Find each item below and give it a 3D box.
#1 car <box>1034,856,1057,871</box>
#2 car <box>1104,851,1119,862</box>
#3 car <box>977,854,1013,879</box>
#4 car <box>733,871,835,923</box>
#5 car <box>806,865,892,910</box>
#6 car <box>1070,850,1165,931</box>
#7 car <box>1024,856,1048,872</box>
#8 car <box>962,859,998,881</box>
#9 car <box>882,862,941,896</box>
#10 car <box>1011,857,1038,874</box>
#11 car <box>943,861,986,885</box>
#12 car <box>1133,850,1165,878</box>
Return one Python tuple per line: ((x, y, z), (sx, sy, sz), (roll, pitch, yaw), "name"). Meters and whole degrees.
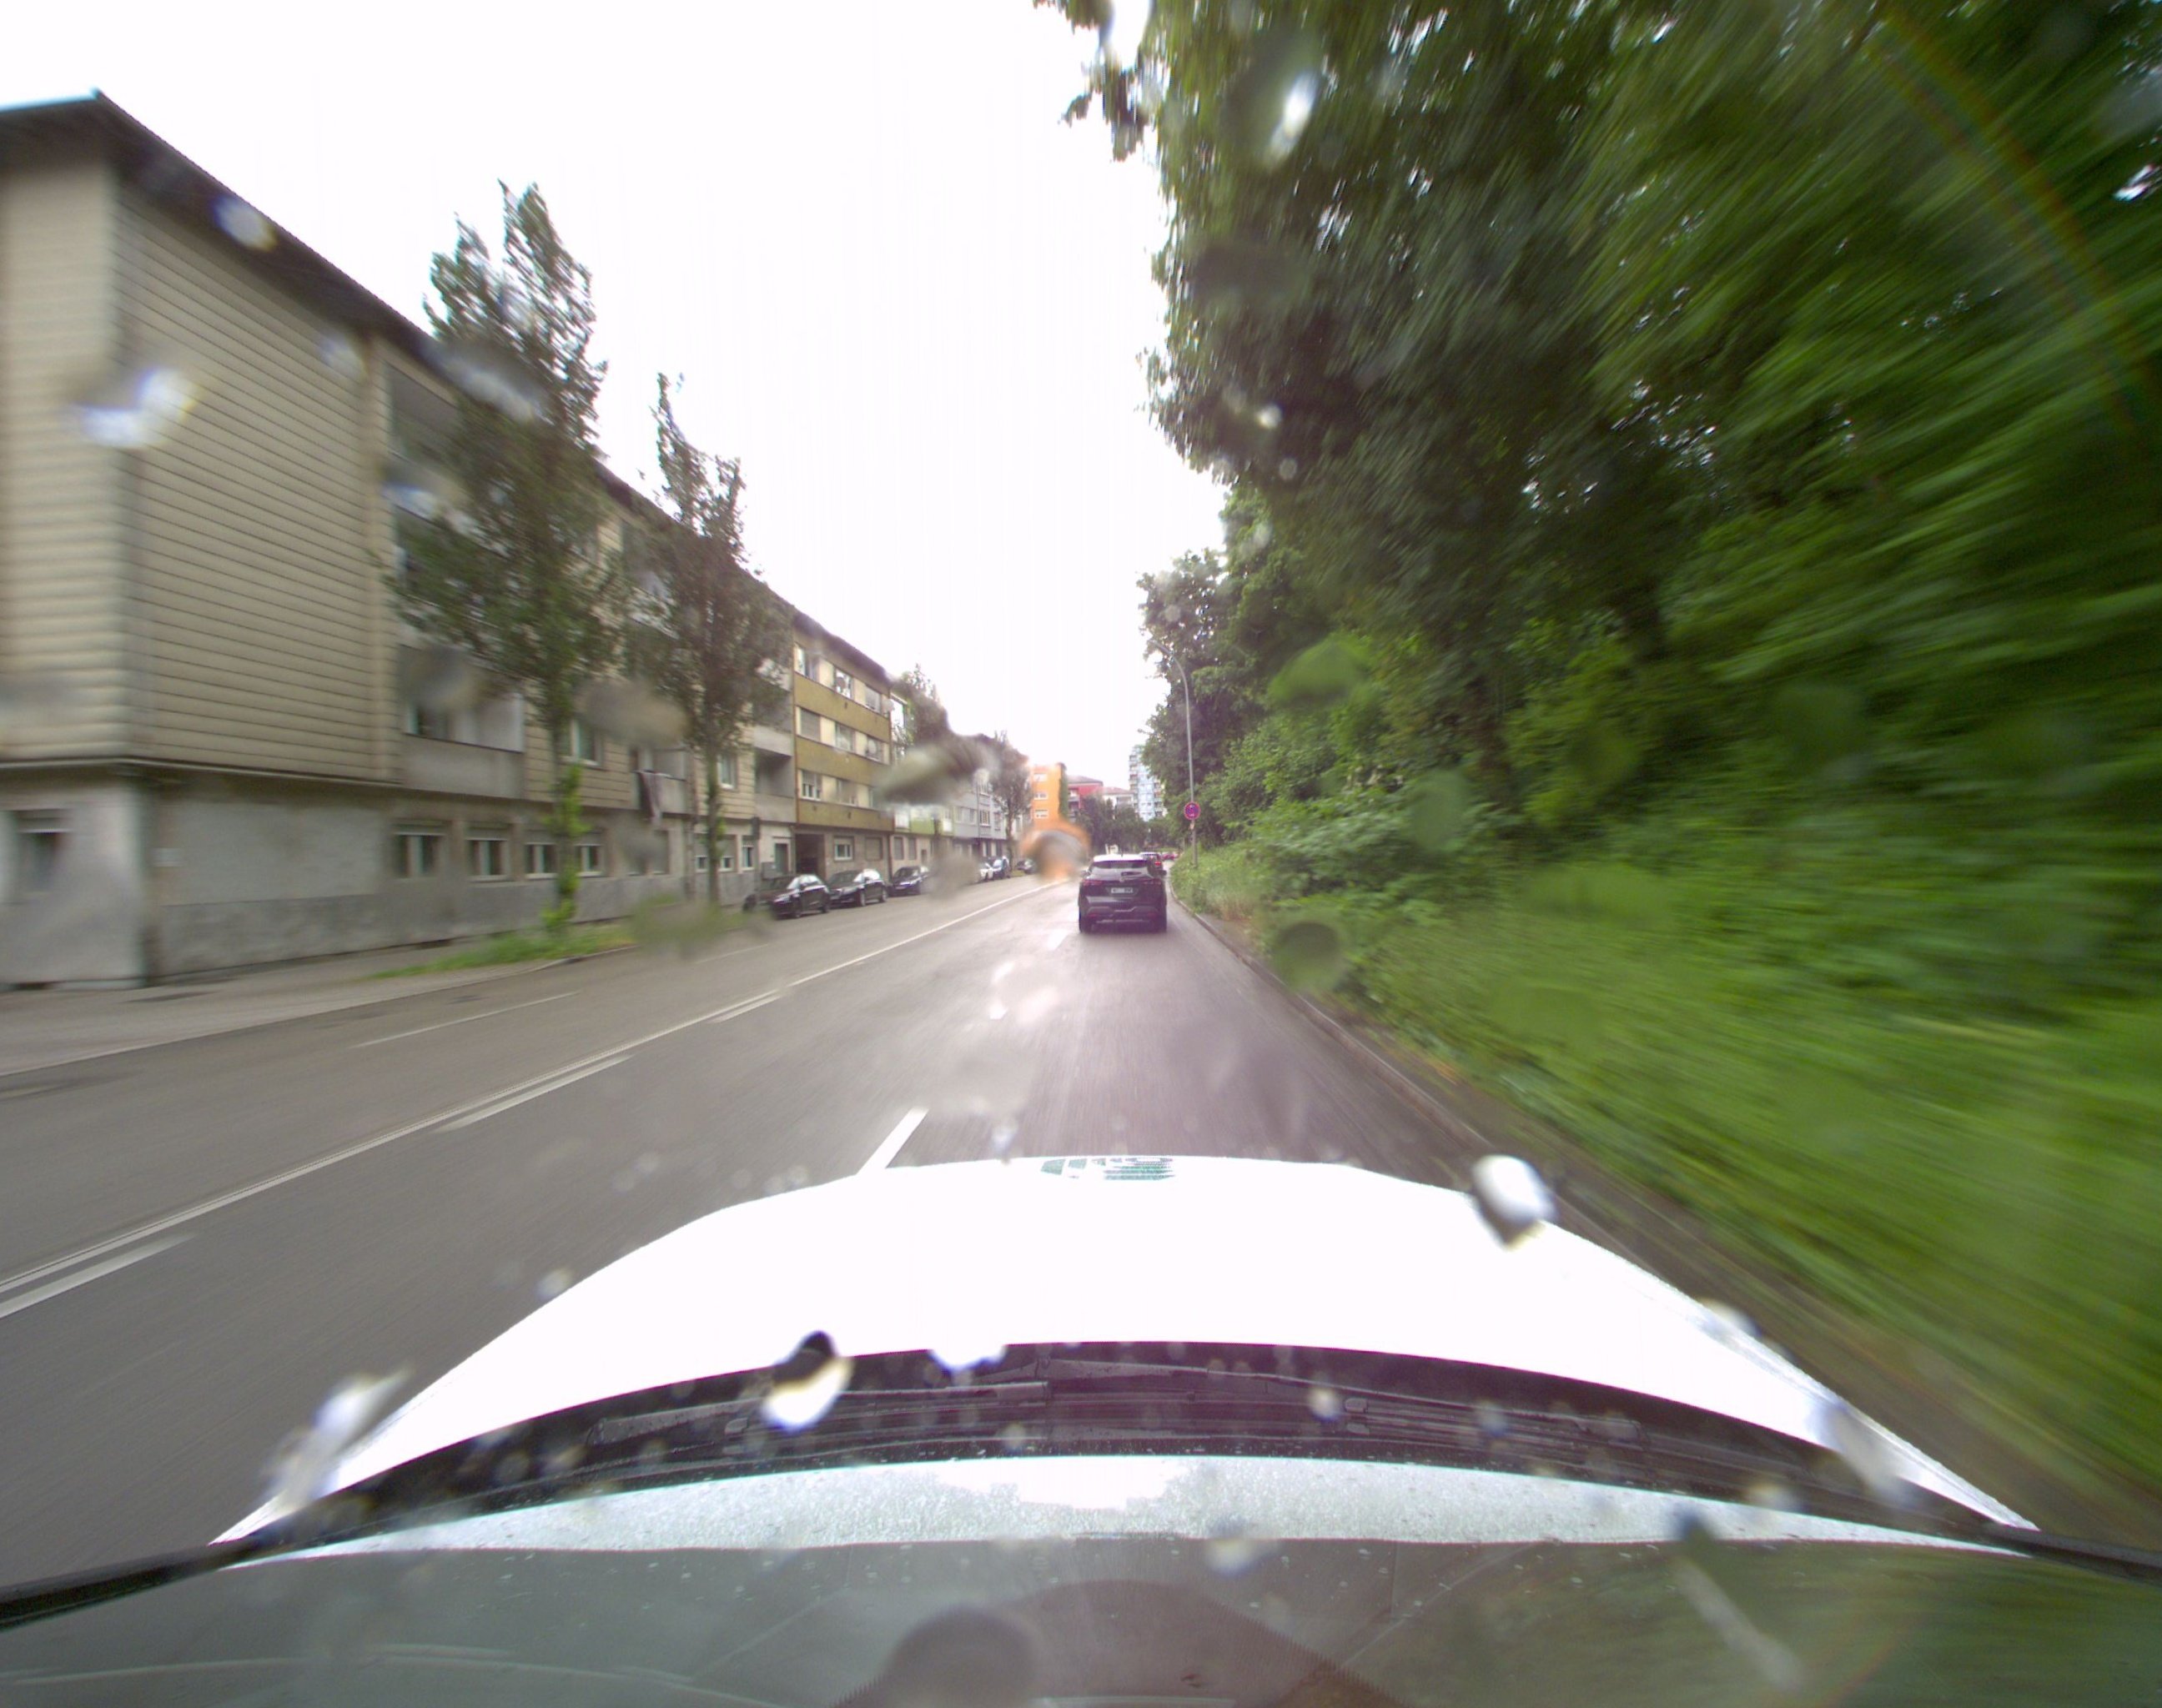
((-3.871, 1.009, 89.925), (1.703, 1.425, 4.331), (-4, 0, 7), "car")
((4.262, 0.302, 113.562), (1.698, 1.478, 3.685), (-3, 0, 5), "car")
((-6.839, 0.977, 65.310), (1.881, 1.766, 4.609), (-4, 0, 6), "car")
((-9.763, 1.370, 27.083), (1.618, 1.387, 3.993), (-3, 0, 4), "car")
((-9.289, 1.281, 33.023), (1.810, 1.488, 4.793), (-4, 0, 3), "car")
((0.843, 0.717, 18.101), (1.837, 1.582, 4.004), (-1, 0, 3), "car")
((-4.658, 1.010, 84.297), (1.672, 1.449, 4.284), (-5, 0, 7), "car")
((-7.326, 1.163, 59.422), (1.672, 1.376, 4.006), (-4, 0, 5), "car")
((-8.737, 1.254, 42.295), (1.710, 1.488, 4.520), (-4, 0, 4), "car")
((-5.355, 1.090, 78.218), (1.680, 1.358, 4.587), (-5, 0, 6), "car")
((-7.653, 1.221, 53.855), (1.810, 1.372, 4.684), (-4, 0, 3), "car")
((4.448, 0.650, 53.066), (1.877, 1.711, 4.008), (-2, 0, 7), "car")
